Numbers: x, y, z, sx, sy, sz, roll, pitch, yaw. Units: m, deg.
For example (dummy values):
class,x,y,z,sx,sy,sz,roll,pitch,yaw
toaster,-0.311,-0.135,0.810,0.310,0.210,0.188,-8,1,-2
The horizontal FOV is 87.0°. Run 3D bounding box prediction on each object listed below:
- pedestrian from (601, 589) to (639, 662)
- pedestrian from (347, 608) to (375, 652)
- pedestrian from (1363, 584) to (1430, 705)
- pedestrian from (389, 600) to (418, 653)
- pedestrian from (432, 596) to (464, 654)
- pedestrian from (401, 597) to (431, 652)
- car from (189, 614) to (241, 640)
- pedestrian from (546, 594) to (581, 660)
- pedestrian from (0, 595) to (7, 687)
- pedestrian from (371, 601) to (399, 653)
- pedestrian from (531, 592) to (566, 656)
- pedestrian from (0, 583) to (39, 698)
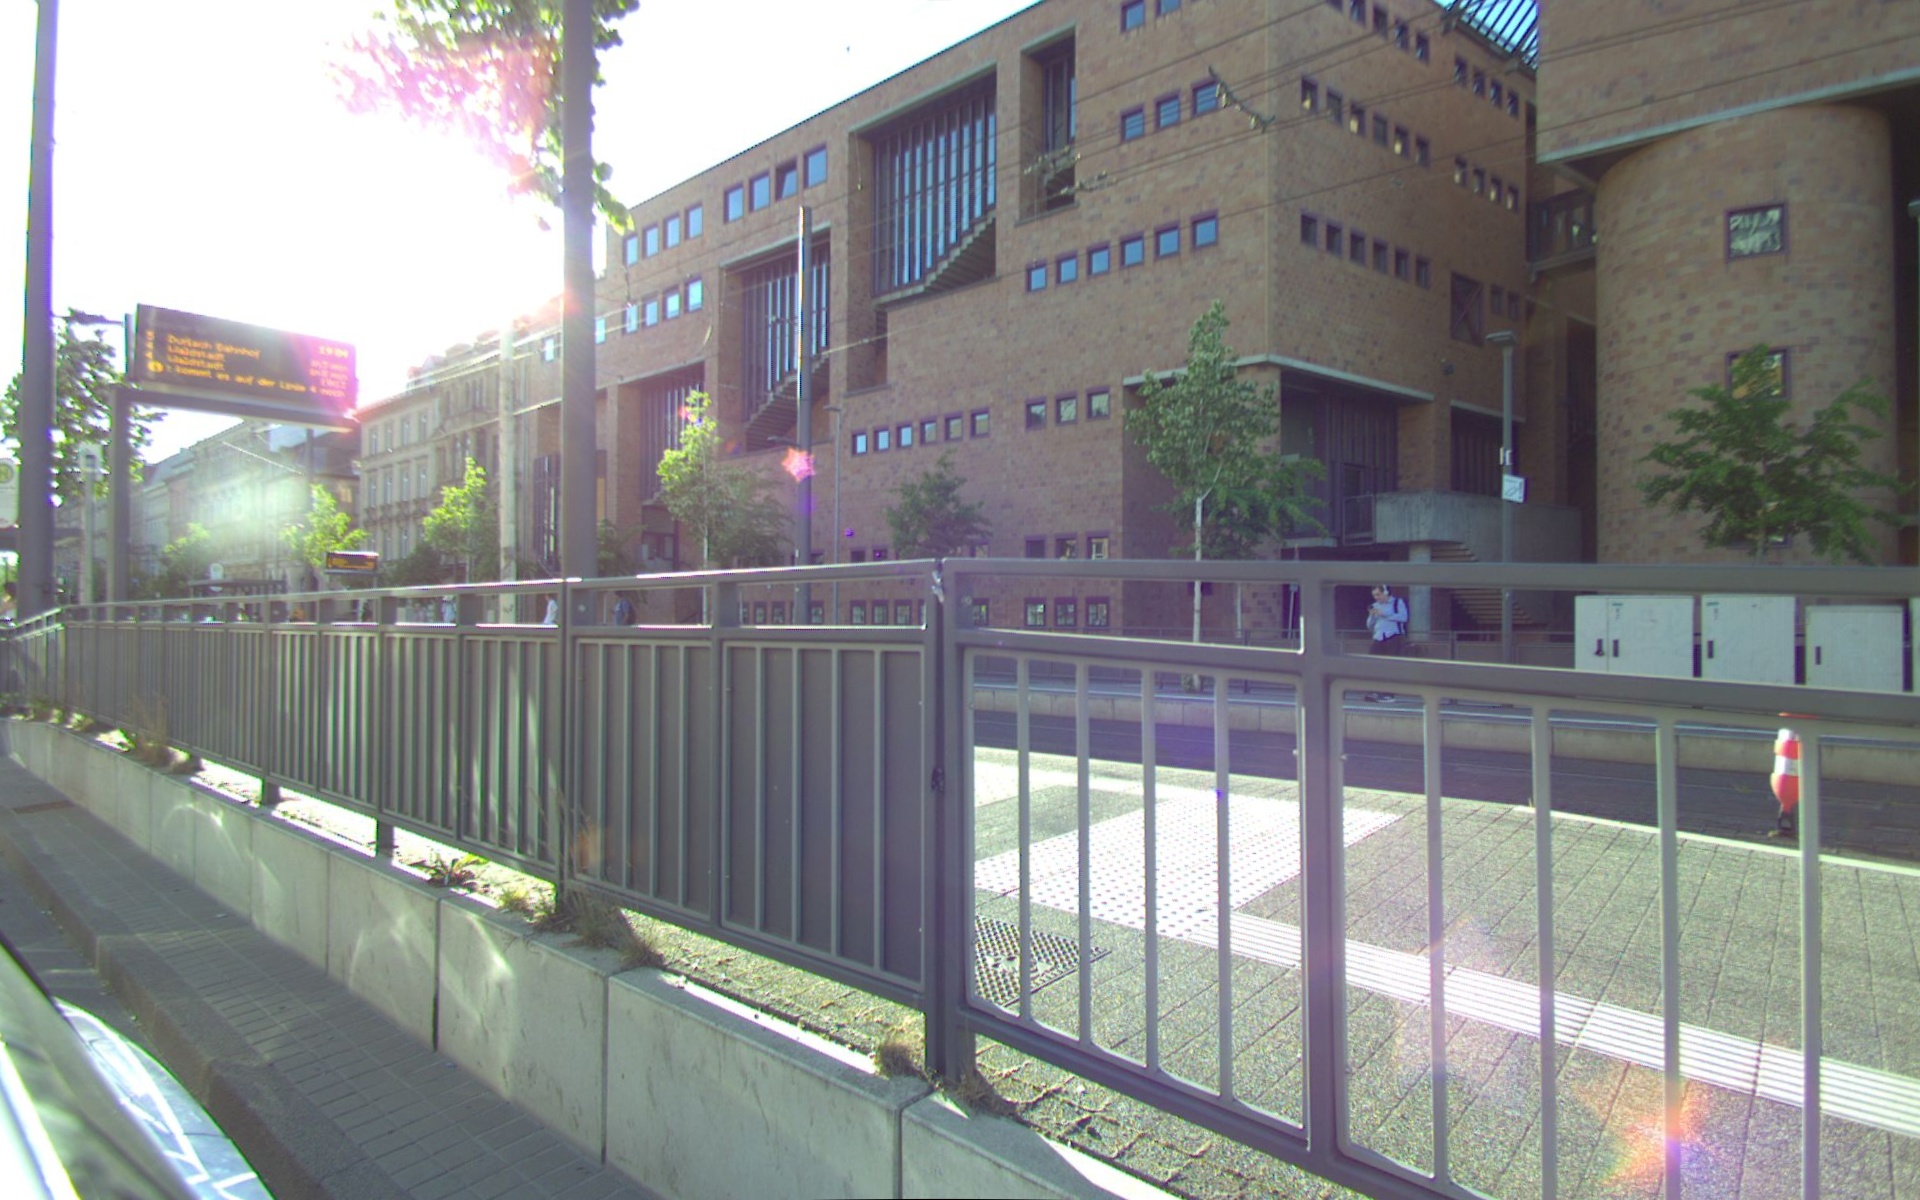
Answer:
class,x,y,z,sx,sy,sz,roll,pitch,yaw
pedestrian,-8.329,0.618,24.807,0.586,1.755,0.684,-2,-2,38
pedestrian,-21.739,1.087,36.736,0.586,1.587,0.684,-2,-2,38
pedestrian,5.789,0.573,13.420,0.653,1.546,0.693,-1,-2,38
pedestrian,-18.847,0.889,34.294,0.586,1.755,0.684,-2,-2,38
pedestrian,-15.909,0.781,31.440,0.586,1.755,0.684,-2,-2,38
pedestrian,-17.875,0.807,33.267,0.586,1.755,0.684,-2,-2,38
car,-43.295,1.571,58.786,3.702,1.497,1.681,-2,-2,41
pedestrian,-10.741,0.727,27.419,0.586,1.755,0.684,-2,-2,38
pedestrian,-21.687,0.904,22.391,0.880,2.029,0.774,-2,-2,42
pedestrian,-19.880,0.931,34.991,0.586,1.755,0.684,-2,-2,38
pedestrian,-11.442,0.658,28.143,0.586,1.755,0.684,-2,-2,38
pedestrian,-17.230,0.719,18.258,0.772,2.029,0.882,1,-2,-36
